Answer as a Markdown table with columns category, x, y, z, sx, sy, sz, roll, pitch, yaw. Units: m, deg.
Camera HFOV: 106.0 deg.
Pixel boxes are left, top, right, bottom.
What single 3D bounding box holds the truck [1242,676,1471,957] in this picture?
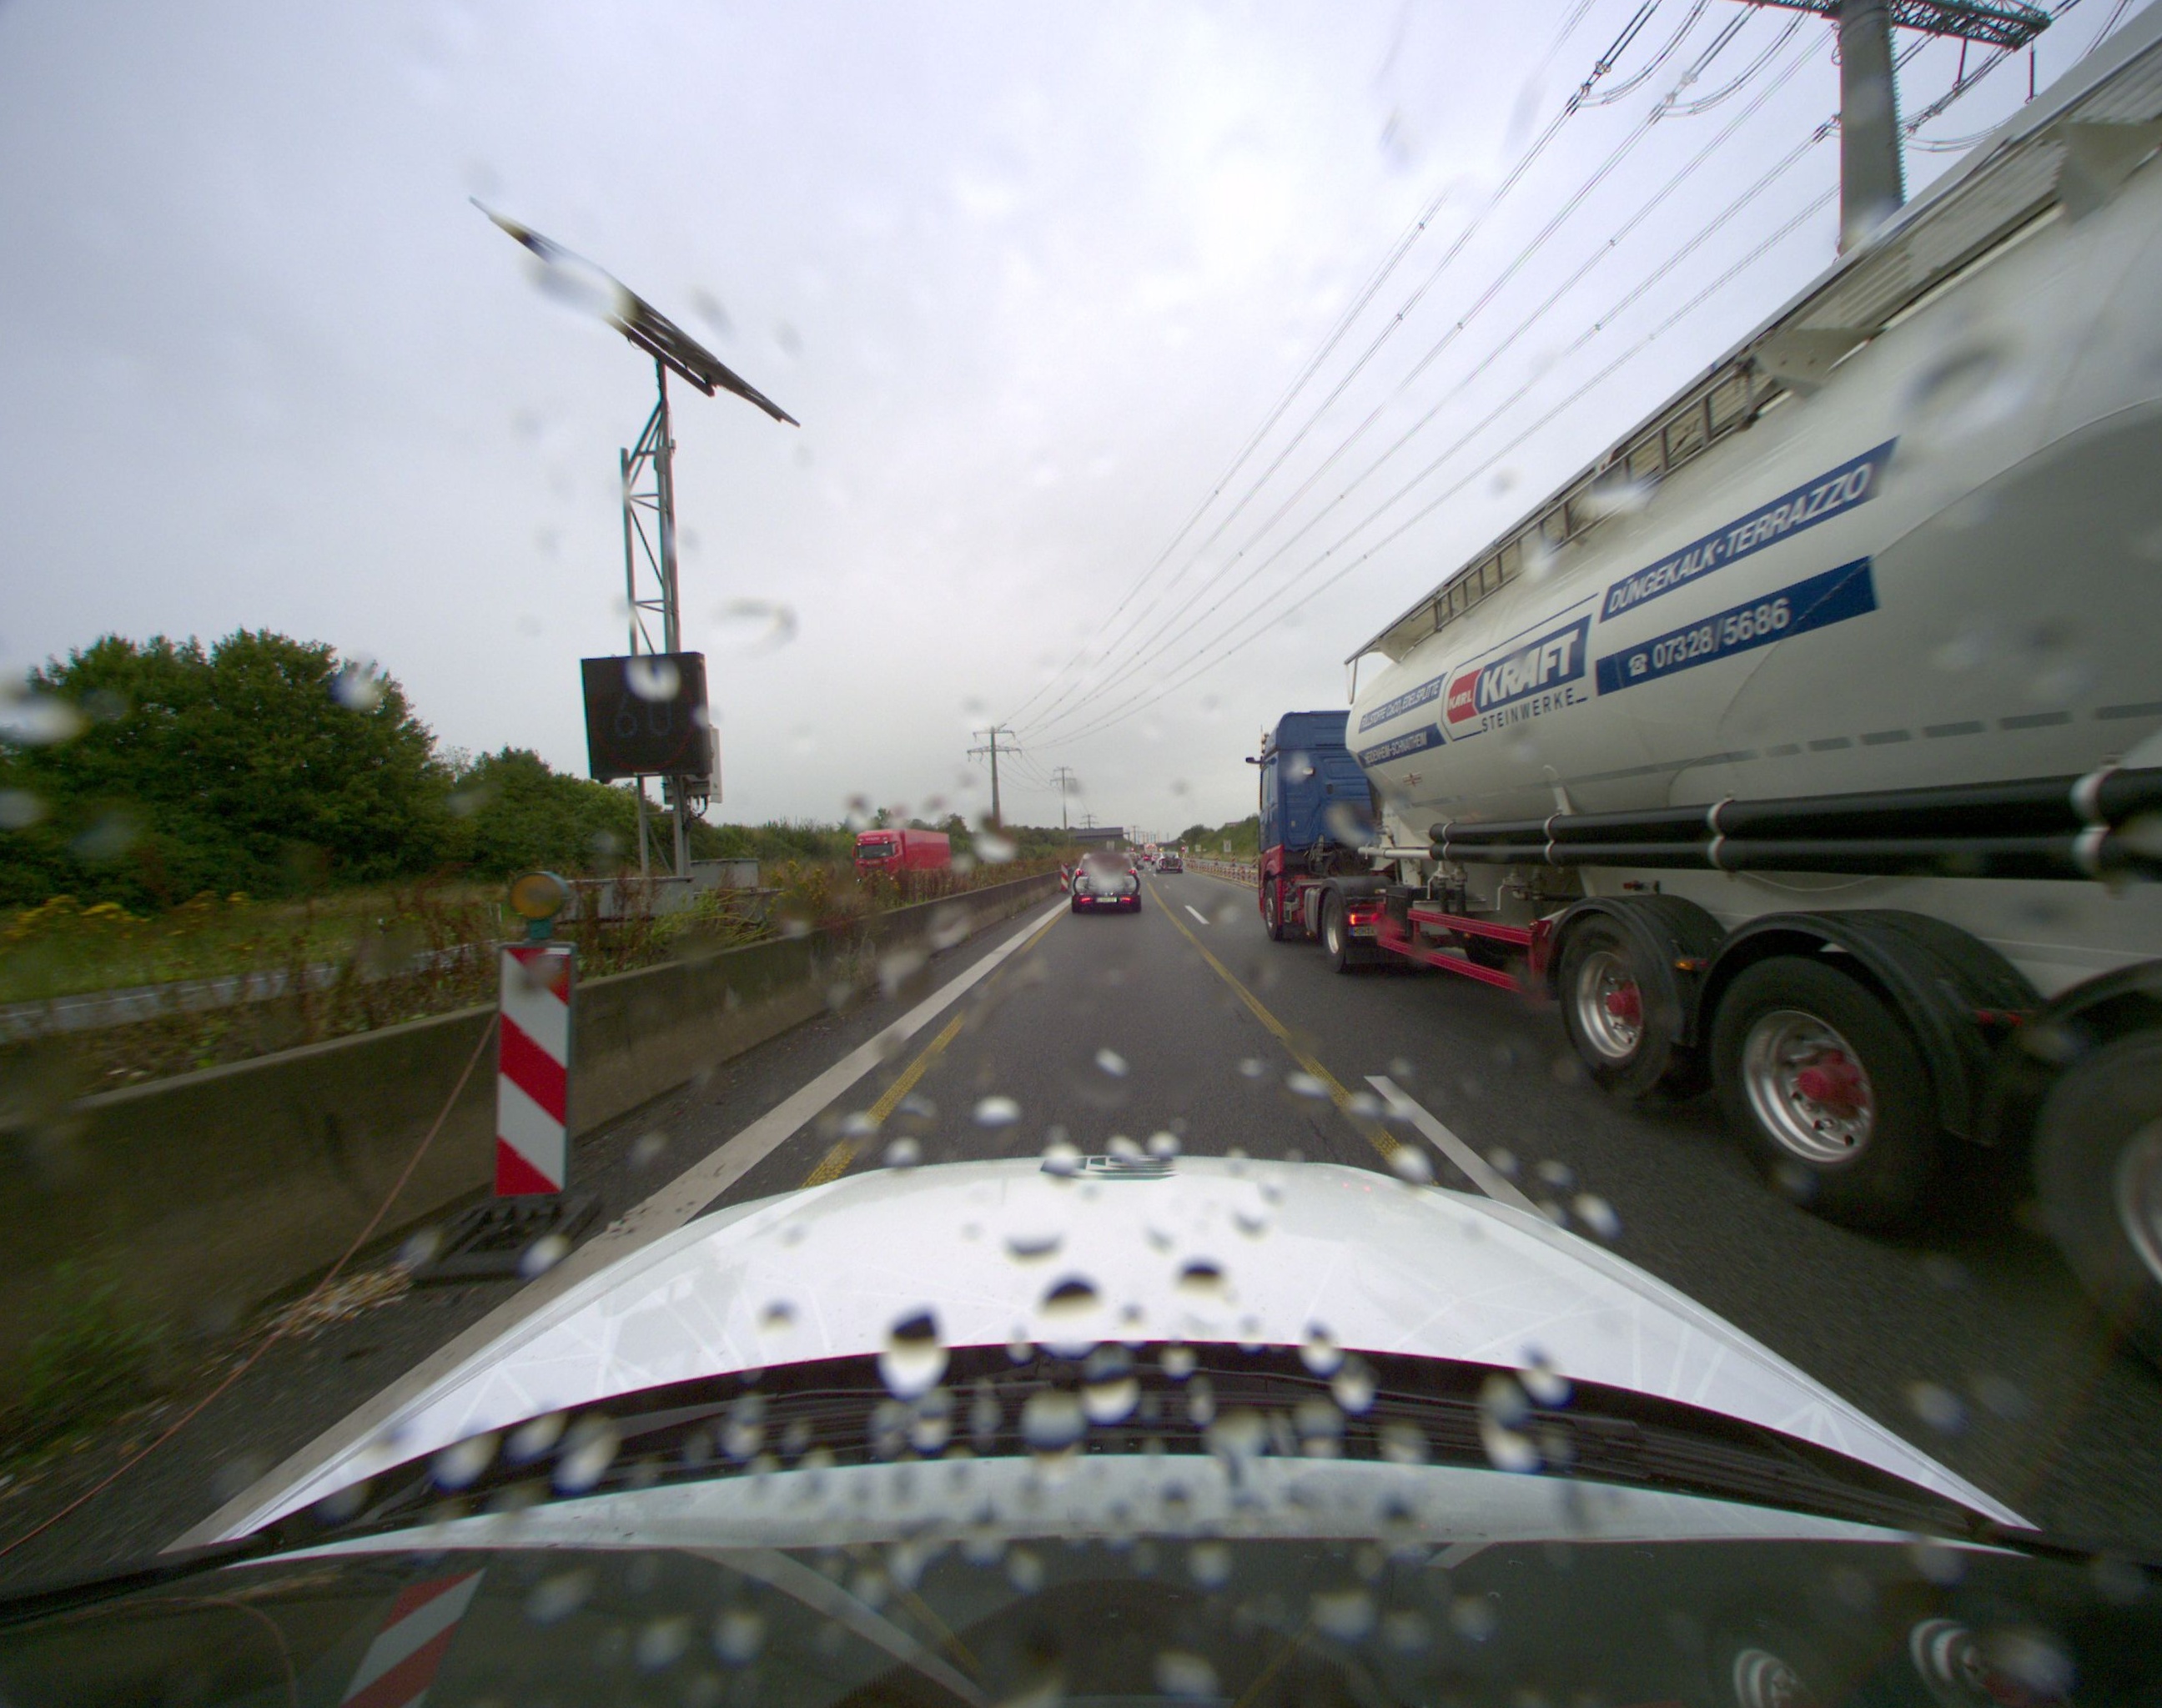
| category | x | y | z | sx | sy | sz | roll | pitch | yaw |
| --- | --- | --- | --- | --- | --- | --- | --- | --- | --- |
| truck | 4.274 | -0.506 | 13.482 | 2.537 | 3.947 | 4.002 | -1 | -1 | 2 |

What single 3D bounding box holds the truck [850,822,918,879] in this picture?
| category | x | y | z | sx | sy | sz | roll | pitch | yaw |
| --- | --- | --- | --- | --- | --- | --- | --- | --- | --- |
| truck | -12.834 | -0.191 | 53.482 | 3.012 | 3.531 | 4.929 | -1 | -1 | 2 |

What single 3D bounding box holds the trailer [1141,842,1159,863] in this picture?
| category | x | y | z | sx | sy | sz | roll | pitch | yaw |
| --- | --- | --- | --- | --- | --- | --- | --- | --- | --- |
| trailer | 13.244 | -0.209 | 157.274 | 2.629 | 3.893 | 10.542 | -1 | -1 | 0 |

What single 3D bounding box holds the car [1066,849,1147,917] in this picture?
| category | x | y | z | sx | sy | sz | roll | pitch | yaw |
| --- | --- | --- | --- | --- | --- | --- | --- | --- | --- |
| car | 0.715 | 0.701 | 21.903 | 1.920 | 1.611 | 4.598 | -1 | 0 | 3 |

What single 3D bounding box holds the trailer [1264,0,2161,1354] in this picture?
| category | x | y | z | sx | sy | sz | roll | pitch | yaw |
| --- | --- | --- | --- | --- | --- | --- | --- | --- | --- |
| trailer | 4.132 | -0.608 | 7.387 | 2.510 | 3.834 | 12.355 | -1 | -1 | 2 |

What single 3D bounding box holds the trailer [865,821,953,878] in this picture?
| category | x | y | z | sx | sy | sz | roll | pitch | yaw |
| --- | --- | --- | --- | --- | --- | --- | --- | --- | --- |
| trailer | -12.508 | -0.220 | 60.979 | 3.025 | 3.814 | 13.985 | -1 | -1 | 2 |

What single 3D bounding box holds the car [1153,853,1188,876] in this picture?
| category | x | y | z | sx | sy | sz | roll | pitch | yaw |
| --- | --- | --- | --- | --- | --- | --- | --- | --- | --- |
| car | 6.680 | 0.772 | 61.398 | 2.039 | 1.596 | 5.801 | -1 | 0 | 0 |

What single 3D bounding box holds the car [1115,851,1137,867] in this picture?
| category | x | y | z | sx | sy | sz | roll | pitch | yaw |
| --- | --- | --- | --- | --- | --- | --- | --- | --- | --- |
| car | 4.578 | 0.503 | 83.565 | 1.987 | 1.584 | 4.000 | -1 | 0 | 0 |

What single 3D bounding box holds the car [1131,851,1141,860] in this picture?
| category | x | y | z | sx | sy | sz | roll | pitch | yaw |
| --- | --- | --- | --- | --- | --- | --- | --- | --- | --- |
| car | 12.562 | 0.457 | 186.517 | 1.987 | 2.014 | 4.000 | -1 | -1 | 0 |

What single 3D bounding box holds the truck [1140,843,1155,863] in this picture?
| category | x | y | z | sx | sy | sz | roll | pitch | yaw |
| --- | --- | --- | --- | --- | --- | --- | --- | --- | --- |
| truck | 13.289 | -0.131 | 163.843 | 2.636 | 3.891 | 4.029 | -1 | -1 | 0 |

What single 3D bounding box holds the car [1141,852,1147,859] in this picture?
| category | x | y | z | sx | sy | sz | roll | pitch | yaw |
| --- | --- | --- | --- | --- | --- | --- | --- | --- | --- |
| car | 18.491 | 0.449 | 240.194 | 1.646 | 2.013 | 4.005 | -1 | 0 | 4 |

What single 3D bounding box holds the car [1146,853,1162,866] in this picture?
| category | x | y | z | sx | sy | sz | roll | pitch | yaw |
| --- | --- | --- | --- | --- | --- | --- | --- | --- | --- |
| car | 9.342 | 0.682 | 104.590 | 1.862 | 1.535 | 4.201 | -1 | 0 | 4 |
